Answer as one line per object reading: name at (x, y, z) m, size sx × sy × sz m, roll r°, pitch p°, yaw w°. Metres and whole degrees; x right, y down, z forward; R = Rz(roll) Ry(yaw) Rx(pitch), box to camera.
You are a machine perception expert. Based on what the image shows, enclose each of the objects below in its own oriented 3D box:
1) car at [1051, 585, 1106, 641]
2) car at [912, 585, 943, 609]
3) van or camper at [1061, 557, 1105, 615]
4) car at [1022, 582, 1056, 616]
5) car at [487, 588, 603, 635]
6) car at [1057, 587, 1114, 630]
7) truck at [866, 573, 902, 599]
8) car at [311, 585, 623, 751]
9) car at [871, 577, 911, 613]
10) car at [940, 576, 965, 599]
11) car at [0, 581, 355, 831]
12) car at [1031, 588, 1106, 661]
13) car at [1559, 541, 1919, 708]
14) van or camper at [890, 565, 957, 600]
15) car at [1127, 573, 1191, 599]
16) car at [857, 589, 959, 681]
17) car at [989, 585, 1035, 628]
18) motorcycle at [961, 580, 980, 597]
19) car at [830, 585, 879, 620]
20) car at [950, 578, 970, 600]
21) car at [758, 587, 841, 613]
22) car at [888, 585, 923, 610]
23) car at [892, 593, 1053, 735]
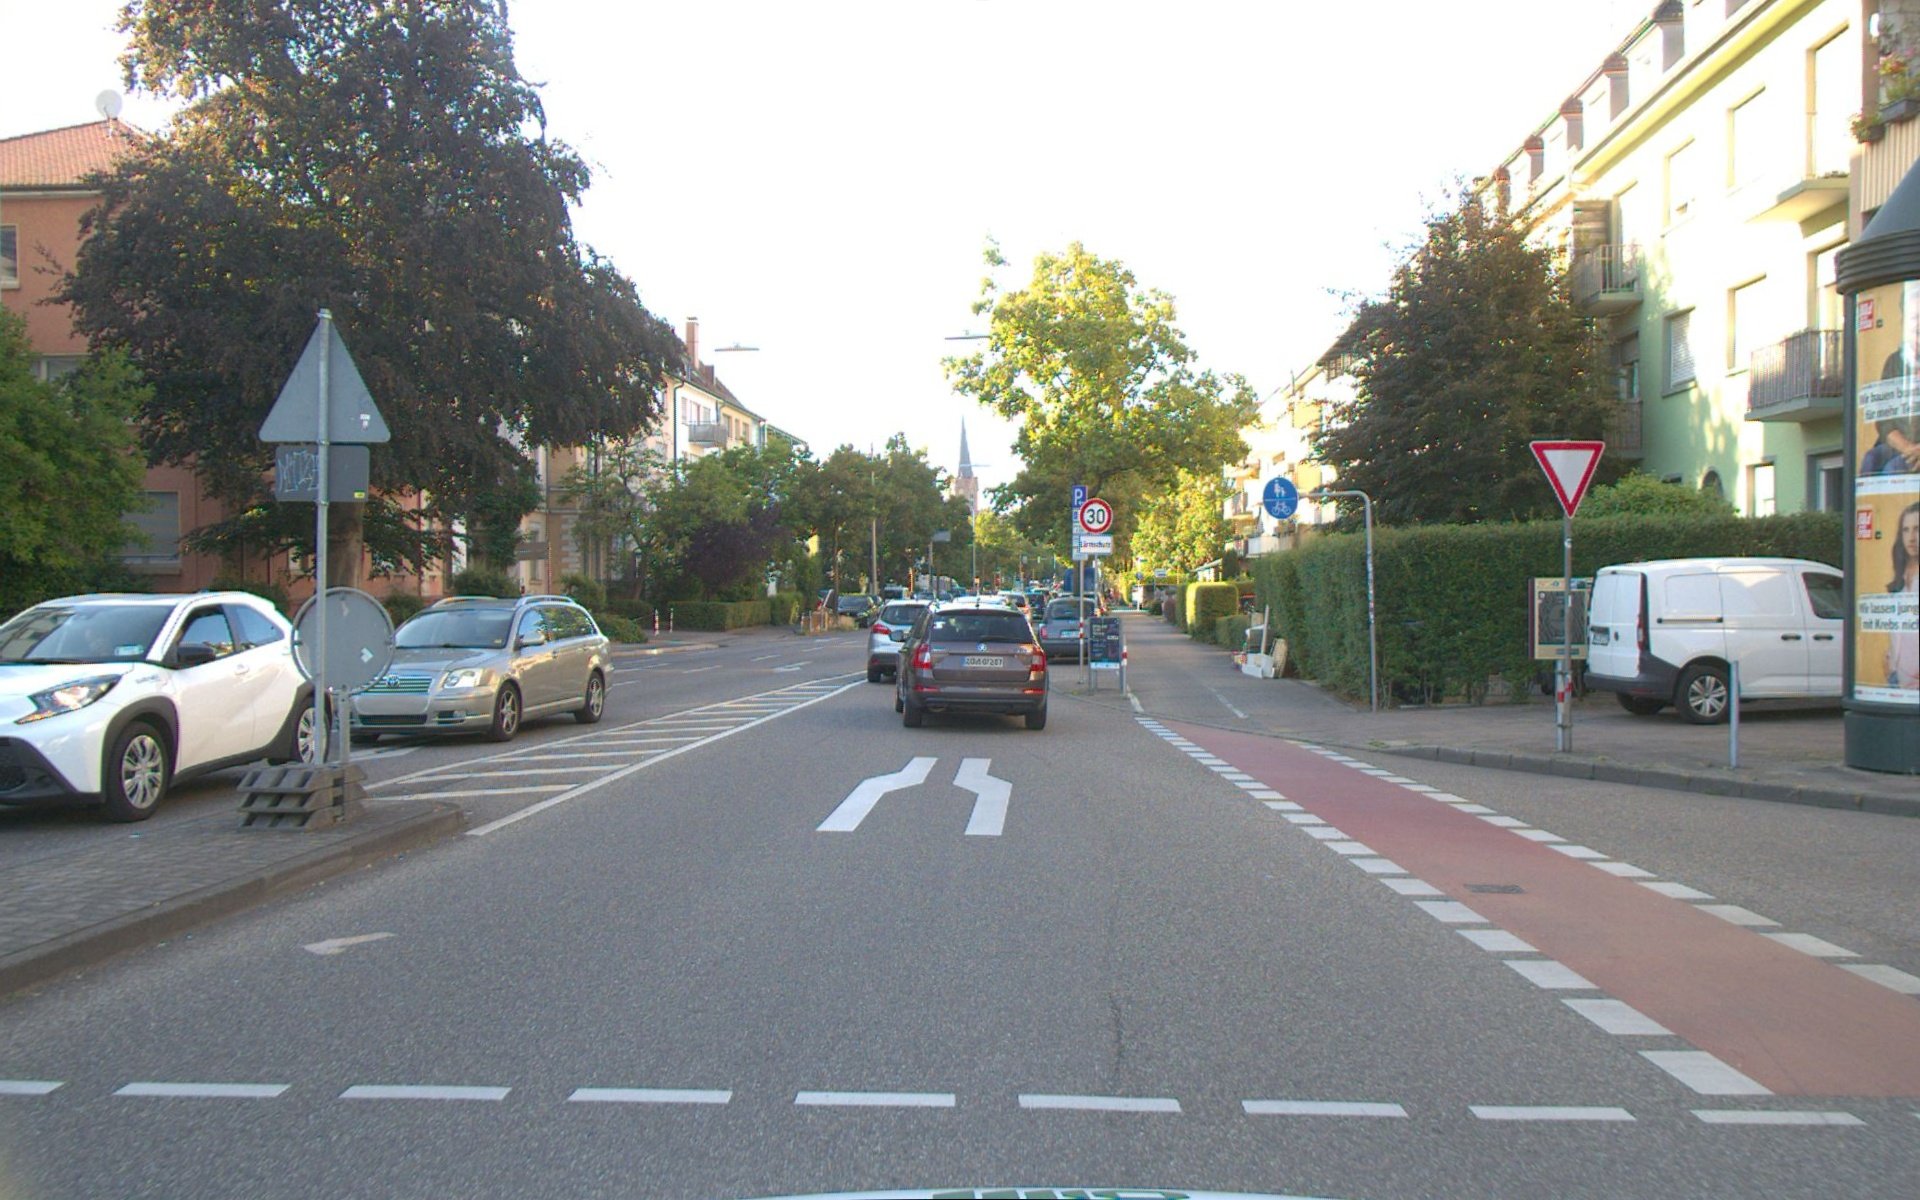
car at (3.811, 0.391, 53.261) m, size 1.696 × 1.680 × 4.294 m, roll 0°, pitch 1°, yaw 4°
car at (-2.177, -0.249, 111.601) m, size 1.681 × 1.523 × 4.250 m, roll 0°, pitch 1°, yaw 4°
van or camper at (5.969, -0.661, 80.201) m, size 2.024 × 2.722 × 5.993 m, roll 0°, pitch 0°, yaw 4°
car at (4.142, -0.052, 86.231) m, size 1.696 × 1.680 × 3.544 m, roll 0°, pitch 1°, yaw 4°
car at (-14.019, 0.368, 55.995) m, size 3.425 × 1.512 × 1.816 m, roll 0°, pitch 1°, yaw 0°
car at (4.756, 0.283, 63.245) m, size 1.880 × 1.512 × 4.747 m, roll 0°, pitch 1°, yaw 1°
truck at (-6.337, -1.191, 138.330) m, size 2.852 × 2.130 × 1.547 m, roll 0°, pitch 1°, yaw 4°
car at (-5.234, 0.638, 18.273) m, size 1.789 × 1.541 × 4.607 m, roll 0°, pitch 1°, yaw 4°
car at (-3.824, -0.311, 92.771) m, size 1.732 × 1.952 × 4.462 m, roll 0°, pitch 1°, yaw 4°
car at (-0.608, -1.043, 136.453) m, size 1.713 × 1.771 × 3.593 m, roll 0°, pitch 1°, yaw 4°
car at (-6.142, 0.632, 12.088) m, size 1.789 × 1.486 × 3.904 m, roll 0°, pitch 1°, yaw 4°
car at (2.596, 0.543, 39.288) m, size 1.696 × 1.578 × 3.648 m, roll 0°, pitch 1°, yaw 4°
car at (9.332, 0.252, 19.333) m, size 4.003 × 1.845 × 1.862 m, roll 0°, pitch 1°, yaw 1°
van or camper at (-4.115, -1.961, 188.075) m, size 7.481 × 3.942 × 2.001 m, roll 0°, pitch 1°, yaw 2°
car at (15.054, -1.058, 125.218) m, size 4.472 × 1.925 × 1.901 m, roll -1°, pitch 1°, yaw -24°
car at (-0.896, 0.583, 30.510) m, size 1.694 × 1.520 × 3.951 m, roll 0°, pitch 1°, yaw 1°
car at (2.166, 0.257, 68.111) m, size 1.696 × 1.680 × 3.544 m, roll 0°, pitch 1°, yaw 4°
motorcycle at (0.958, -1.046, 151.416) m, size 0.759 × 1.538 × 2.003 m, roll -1°, pitch 1°, yaw -38°
car at (-4.892, 0.093, 77.265) m, size 1.713 × 1.529 × 4.199 m, roll 0°, pitch 1°, yaw 4°
car at (0.005, -0.947, 141.092) m, size 1.475 × 1.787 × 3.696 m, roll 0°, pitch 1°, yaw 4°
car at (-9.193, -0.027, 94.616) m, size 4.623 × 1.386 × 1.996 m, roll -1°, pitch 1°, yaw -9°
car at (-3.266, -0.184, 100.153) m, size 1.681 × 1.445 × 3.789 m, roll 0°, pitch 1°, yaw 4°
car at (0.065, 0.709, 20.547) m, size 1.695 × 1.520 × 3.948 m, roll 0°, pitch 1°, yaw -4°
